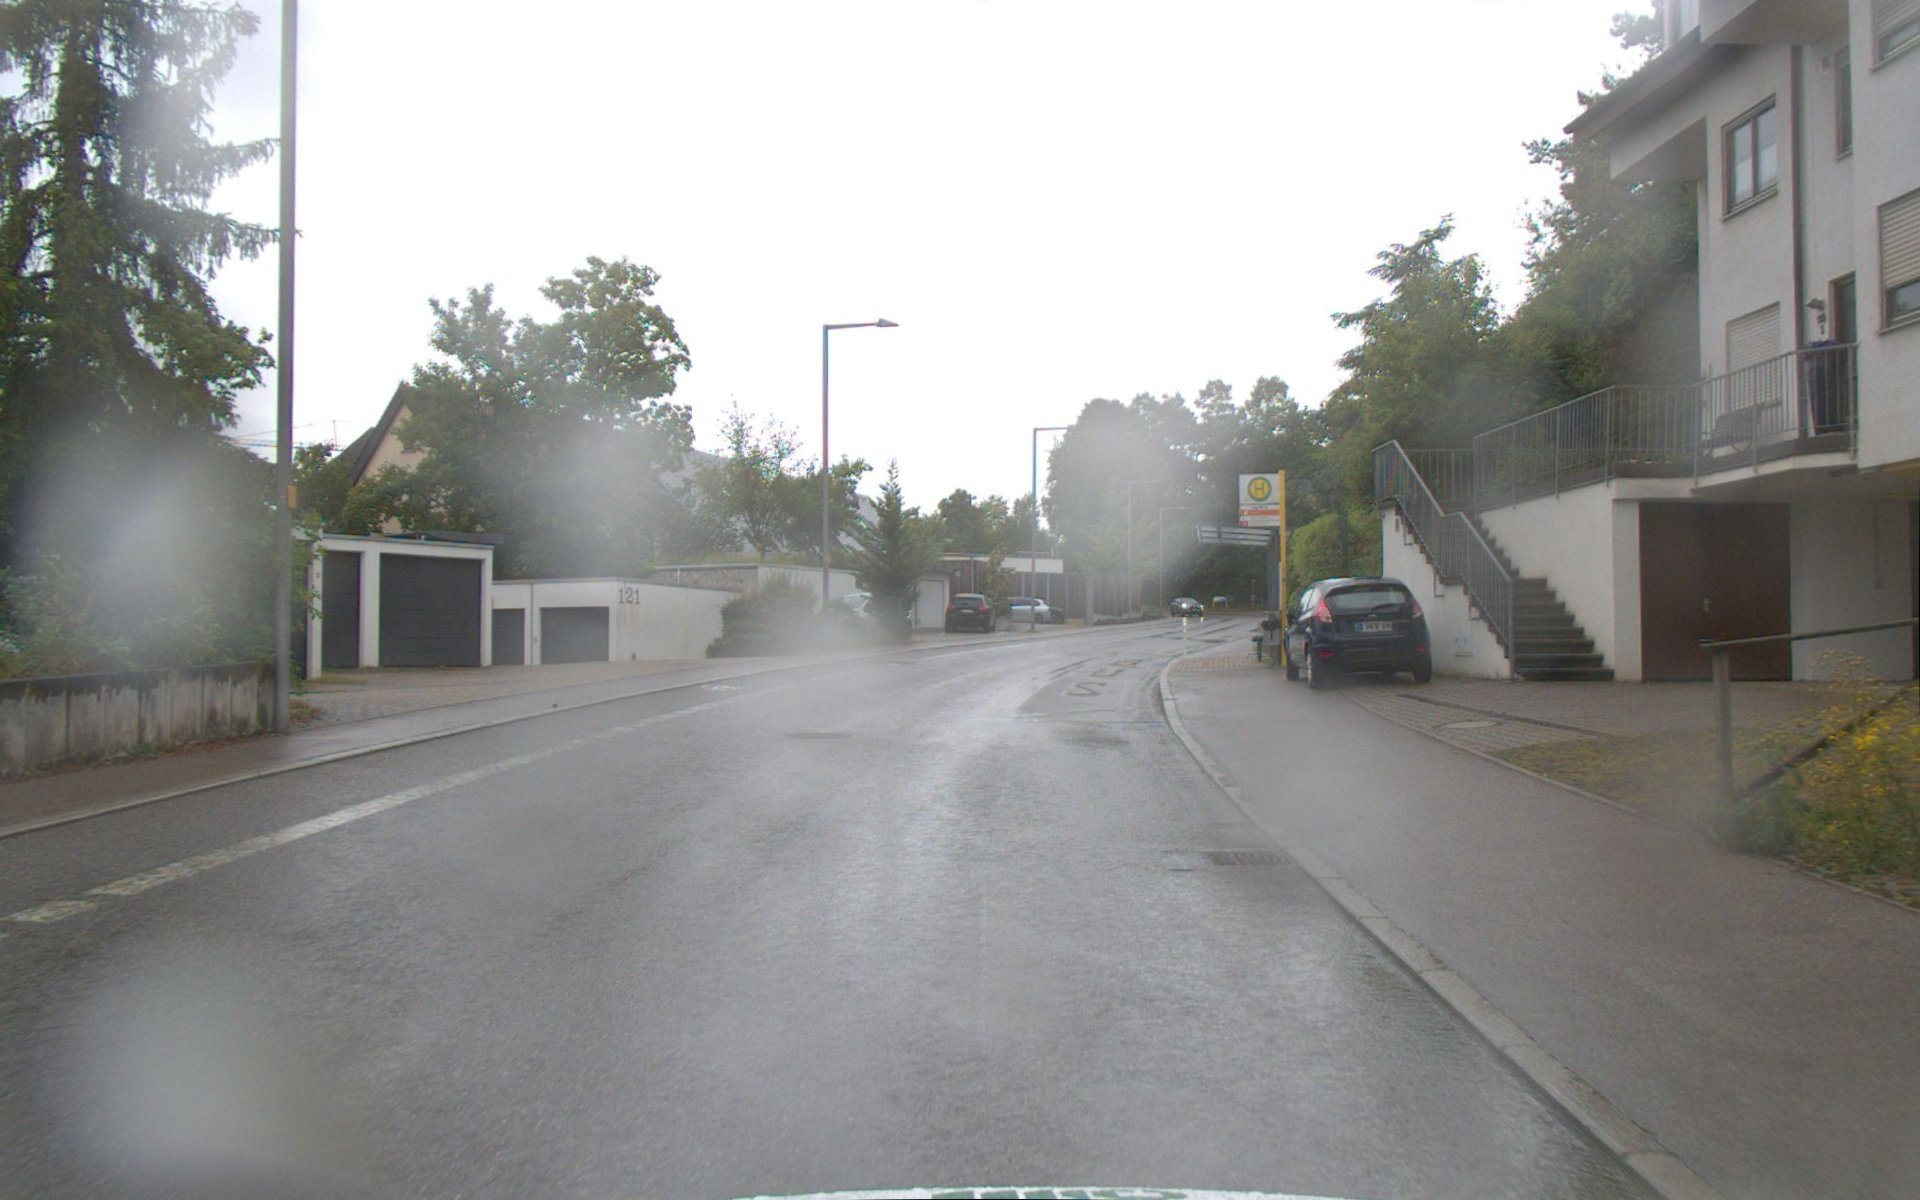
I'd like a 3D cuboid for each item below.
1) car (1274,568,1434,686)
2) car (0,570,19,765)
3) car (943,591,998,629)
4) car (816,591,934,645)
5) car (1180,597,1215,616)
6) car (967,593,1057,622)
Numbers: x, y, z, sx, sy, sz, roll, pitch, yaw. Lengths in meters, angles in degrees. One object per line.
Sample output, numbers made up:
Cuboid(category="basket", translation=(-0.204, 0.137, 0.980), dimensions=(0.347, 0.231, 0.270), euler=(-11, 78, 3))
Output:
Cuboid(category="car", translation=(5.615, 0.357, 23.975), dimensions=(1.669, 1.479, 4.023), euler=(-3, 0, 6))
Cuboid(category="car", translation=(-8.850, 0.548, 11.756), dimensions=(1.697, 1.578, 4.003), euler=(0, 0, 7))
Cuboid(category="car", translation=(0.455, 0.384, 65.066), dimensions=(1.795, 1.430, 4.262), euler=(0, 0, 5))
Cuboid(category="car", translation=(-2.599, 0.530, 51.504), dimensions=(1.672, 1.580, 4.383), euler=(0, 0, 28))
Cuboid(category="car", translation=(19.143, 0.553, 133.371), dimensions=(1.816, 1.495, 3.692), euler=(0, 0, -9))
Cuboid(category="car", translation=(2.735, 0.395, 87.070), dimensions=(4.461, 1.467, 1.747), euler=(1, 0, -25))
